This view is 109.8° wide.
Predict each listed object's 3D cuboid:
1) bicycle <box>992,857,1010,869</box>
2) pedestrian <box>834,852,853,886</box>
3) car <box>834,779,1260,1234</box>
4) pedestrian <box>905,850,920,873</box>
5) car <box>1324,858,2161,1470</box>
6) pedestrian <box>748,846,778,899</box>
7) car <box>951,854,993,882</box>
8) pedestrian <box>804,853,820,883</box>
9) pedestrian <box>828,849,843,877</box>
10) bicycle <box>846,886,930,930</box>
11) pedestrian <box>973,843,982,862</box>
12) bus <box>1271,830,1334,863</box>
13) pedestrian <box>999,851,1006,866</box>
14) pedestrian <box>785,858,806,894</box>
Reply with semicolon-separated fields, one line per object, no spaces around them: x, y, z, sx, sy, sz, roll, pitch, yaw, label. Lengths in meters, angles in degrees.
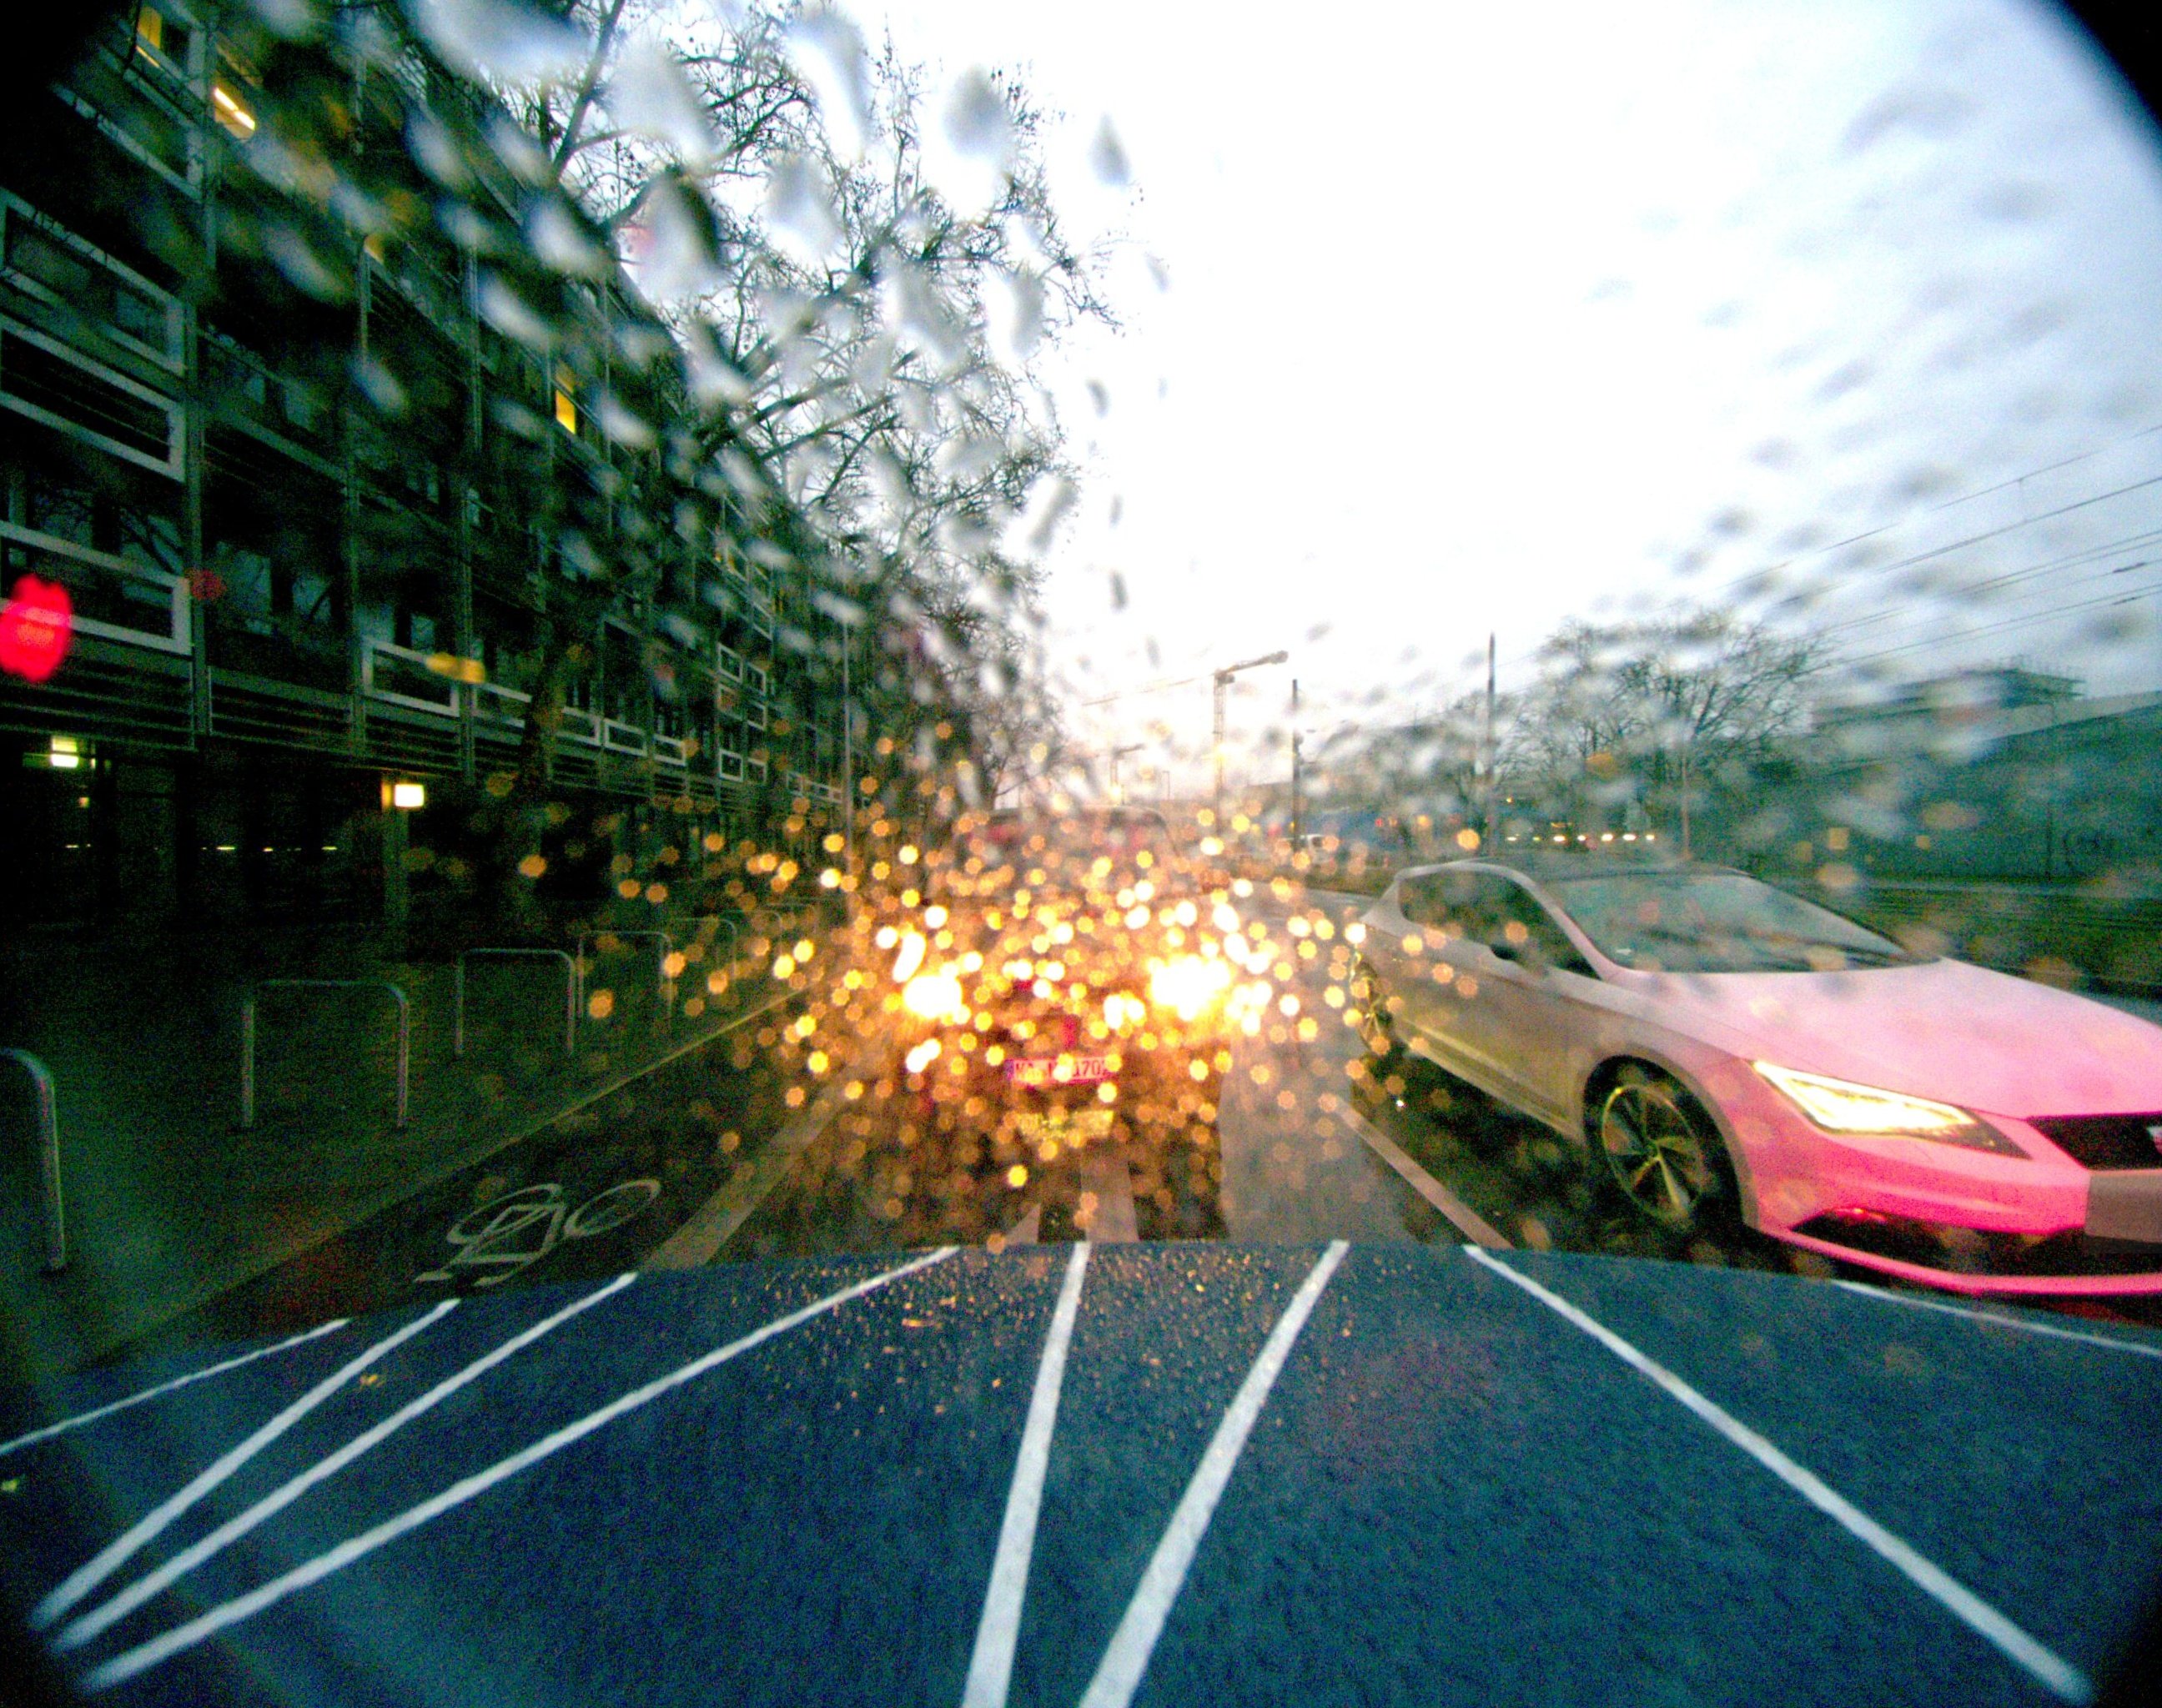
-7.214;0.830;68.295;1.523;1.030;0.469;-2;1;-7;bicycle
-10.936;0.670;35.033;0.649;1.535;0.615;-1;1;1;pedestrian
-0.121;0.673;5.389;1.858;2.002;4.000;-1;1;1;car
-11.169;0.481;50.413;0.866;1.515;0.837;-1;1;-2;pedestrian
2.914;0.803;4.025;1.778;1.466;4.128;-1;1;-2;car
-12.074;0.696;28.858;0.822;2.002;0.735;-1;1;-2;pedestrian
-6.175;0.787;43.374;1.608;1.424;3.930;2;1;2;car
-12.697;0.651;35.851;0.492;1.361;0.503;0;1;38;pedestrian
-14.453;0.536;44.796;0.641;1.645;0.842;-1;1;-4;pedestrian
-4.453;1.248;17.605;1.792;0.968;0.617;1;1;-4;bicycle
-10.657;-0.147;78.099;0.791;2.002;1.024;-1;1;0;pedestrian
25.963;-0.888;89.922;2.815;3.557;12.298;-1;0;-6;bus
-10.886;0.632;105.168;0.838;2.002;0.771;-2;2;-1;pedestrian
-13.422;1.039;35.732;0.617;1.647;0.780;-1;1;1;pedestrian
